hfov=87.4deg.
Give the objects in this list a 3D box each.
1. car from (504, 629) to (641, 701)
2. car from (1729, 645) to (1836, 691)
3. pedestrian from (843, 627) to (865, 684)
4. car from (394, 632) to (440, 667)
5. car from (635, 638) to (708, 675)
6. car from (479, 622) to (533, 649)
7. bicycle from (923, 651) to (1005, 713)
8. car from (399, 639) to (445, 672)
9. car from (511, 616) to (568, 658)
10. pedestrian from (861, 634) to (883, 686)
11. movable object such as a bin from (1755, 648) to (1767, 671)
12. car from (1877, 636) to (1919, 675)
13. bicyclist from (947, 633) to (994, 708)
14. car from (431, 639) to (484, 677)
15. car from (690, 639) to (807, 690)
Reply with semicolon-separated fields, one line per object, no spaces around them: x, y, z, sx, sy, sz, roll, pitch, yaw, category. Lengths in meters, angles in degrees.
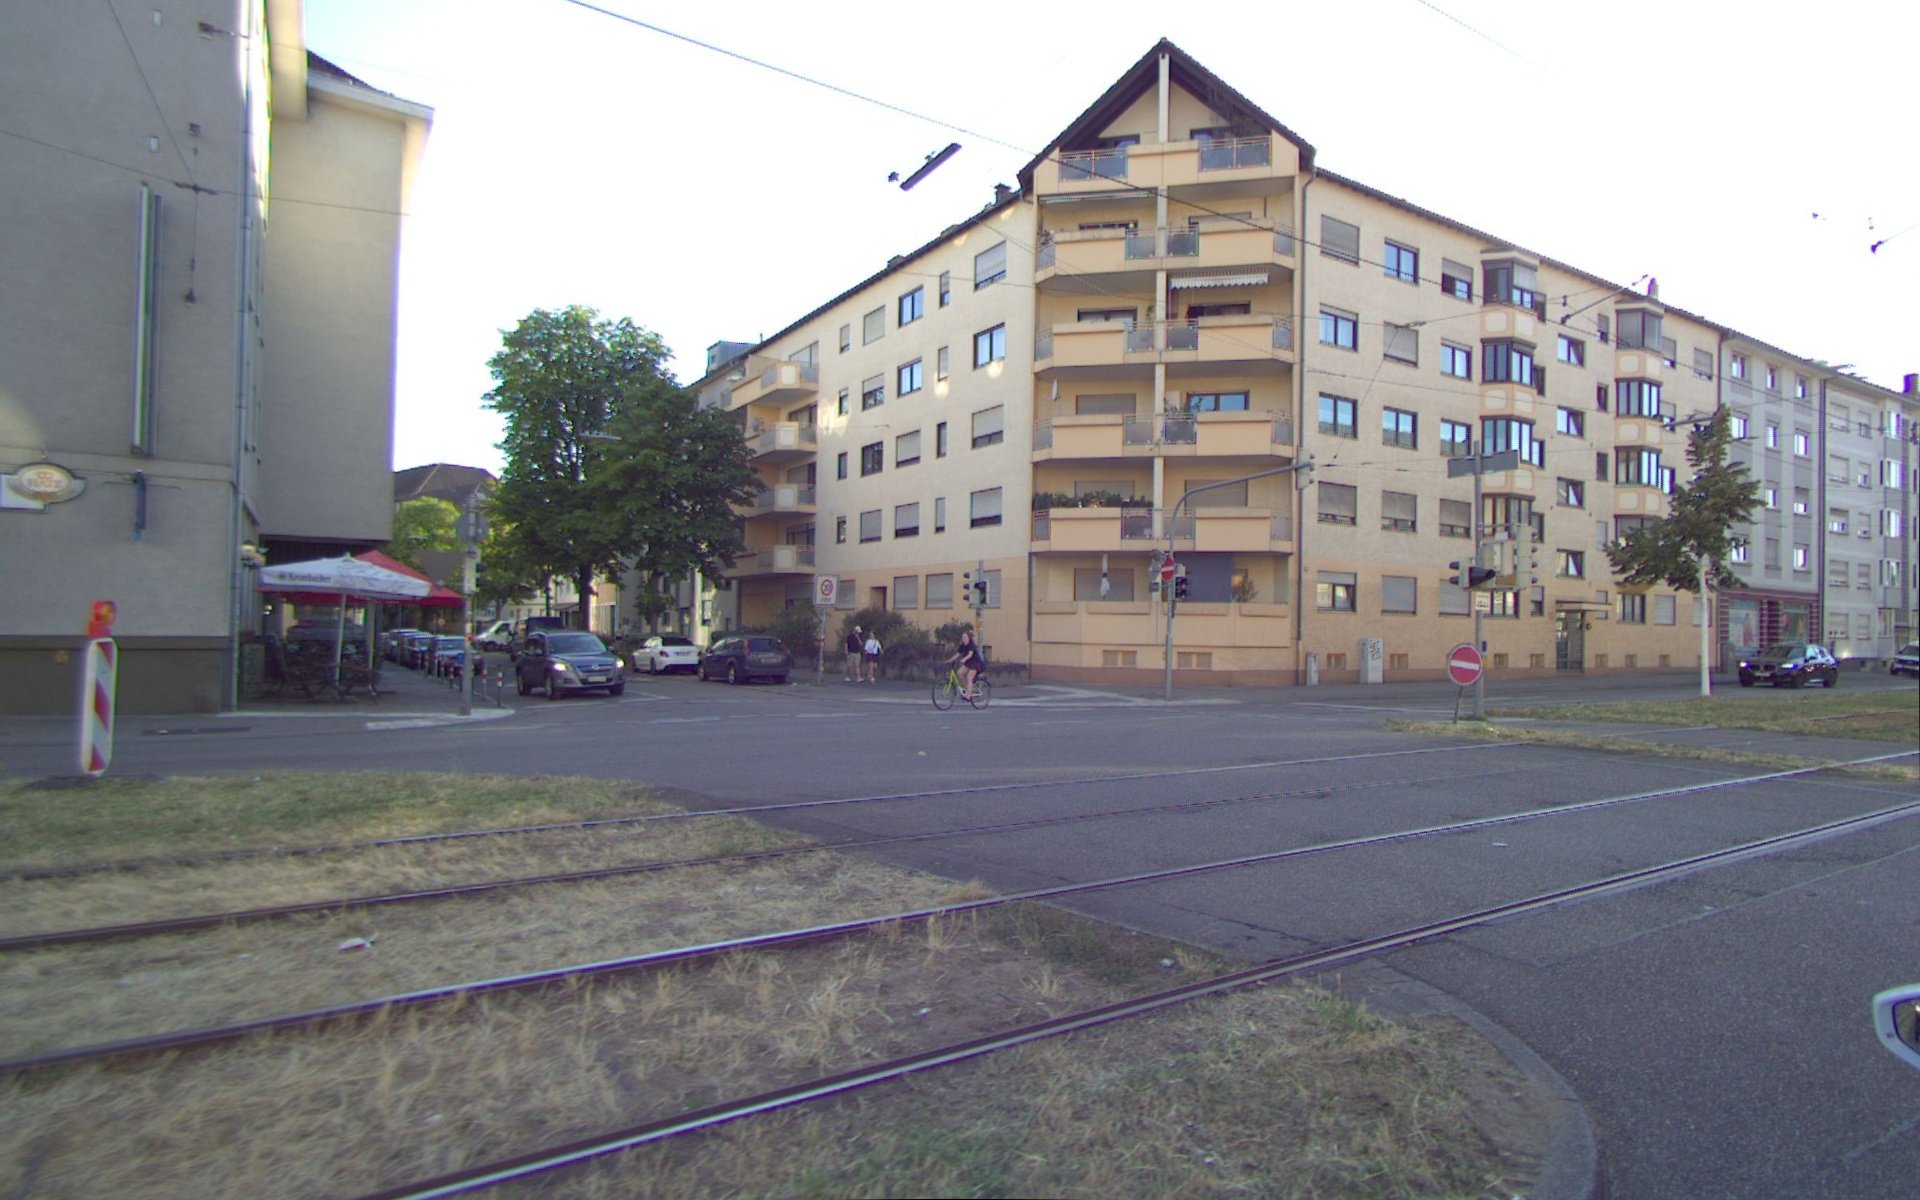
-9.932;1.580;25.555;1.984;1.645;4.149;2;-2;-40;car
32.230;2.634;39.327;4.696;1.655;1.887;2;-3;-33;car
-3.319;1.733;31.395;0.457;1.727;0.588;2;-1;-27;pedestrian
-27.497;2.506;50.789;1.619;1.594;3.503;3;-1;-35;car
-10.973;2.125;38.093;1.754;1.280;3.278;3;-2;-33;car
-33.254;2.619;73.635;3.446;1.819;1.689;3;-1;-30;car
0.099;1.760;21.817;1.851;1.274;0.452;1;-1;-34;bicycle
-24.223;2.472;45.201;1.418;1.293;3.322;3;-1;-35;car
-21.737;1.903;51.863;1.979;2.040;3.963;3;-2;-33;car
-2.749;1.872;31.480;0.509;1.573;0.547;0;0;-27;pedestrian
38.311;2.849;48.030;0.437;1.050;0.296;2;-1;-34;movable object such as a bin
50.785;2.952;53.153;4.487;1.950;1.985;3;-1;-29;car
0.235;1.523;21.939;0.801;1.607;0.622;1;-1;-35;bicyclist
-19.063;2.174;38.045;1.487;1.328;3.107;3;-3;-32;car
-6.768;1.992;31.886;1.984;1.461;3.953;0;-2;-40;car
